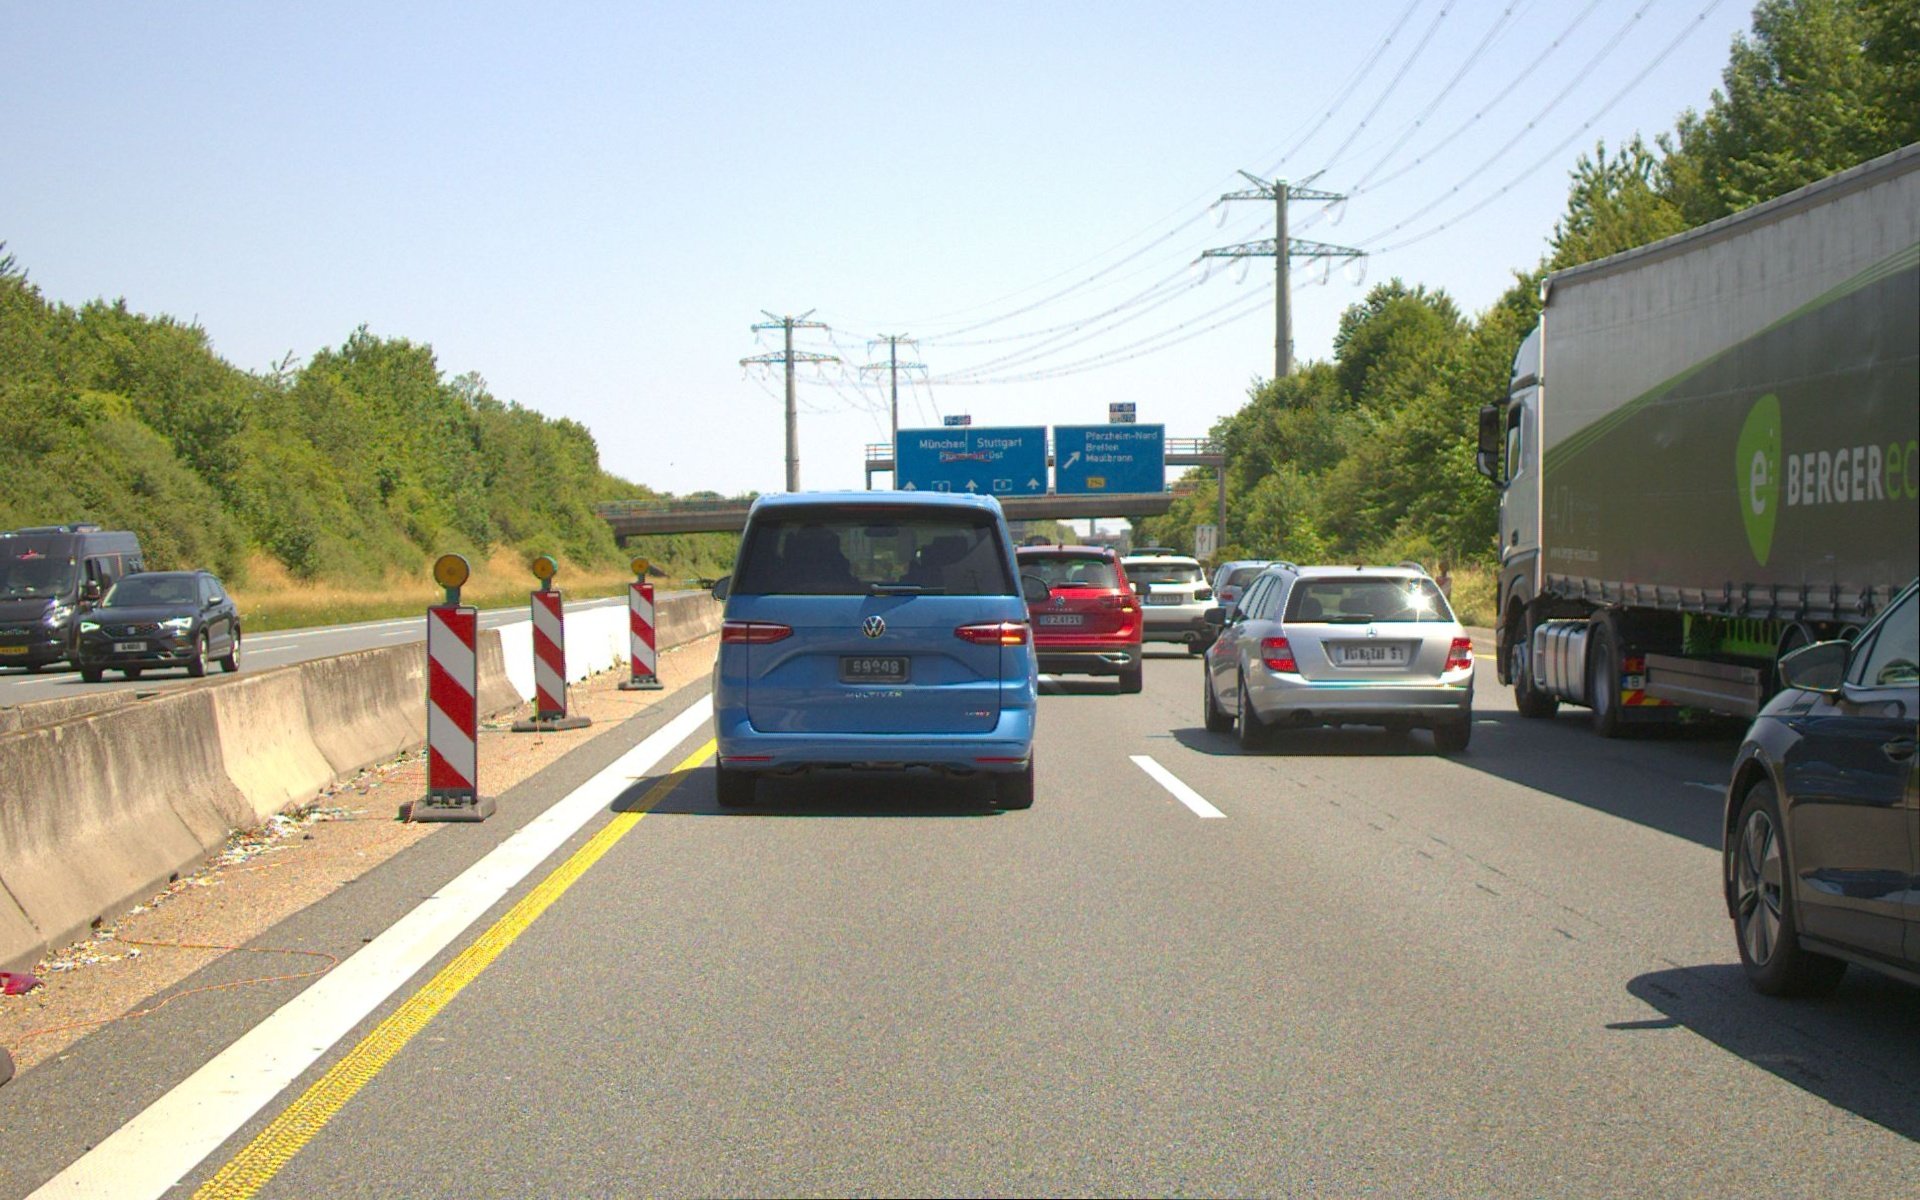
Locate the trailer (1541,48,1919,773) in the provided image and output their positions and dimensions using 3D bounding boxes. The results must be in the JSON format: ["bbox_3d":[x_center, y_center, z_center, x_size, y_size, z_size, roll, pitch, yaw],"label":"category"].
[{"bbox_3d":[6.621,-1.081,23.347,2.783,4.033,13.113,1,1,-1],"label":"trailer"}]

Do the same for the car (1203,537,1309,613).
[{"bbox_3d":[5.882,-0.509,68.582,1.700,1.443,3.788,1,1,-1],"label":"car"}]

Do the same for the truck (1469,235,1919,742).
[{"bbox_3d":[6.456,-0.923,30.607,2.733,4.033,5.794,1,0,-2],"label":"truck"}]

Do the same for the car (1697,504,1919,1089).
[{"bbox_3d":[3.555,0.564,9.995,1.700,1.649,4.430,1,1,-2],"label":"car"}]

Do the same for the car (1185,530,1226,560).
[{"bbox_3d":[14.232,-3.196,199.311,1.874,1.665,4.360,1,1,-2],"label":"car"}]

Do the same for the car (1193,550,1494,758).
[{"bbox_3d":[2.985,0.377,27.609,1.770,1.512,4.360,1,1,-2],"label":"car"}]

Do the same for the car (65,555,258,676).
[{"bbox_3d":[-12.126,0.196,52.476,1.993,1.678,4.153,-3,1,-1],"label":"car"}]

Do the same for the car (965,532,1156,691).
[{"bbox_3d":[1.077,0.101,38.992,1.874,1.665,4.360,1,1,-2],"label":"car"}]

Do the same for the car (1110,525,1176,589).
[{"bbox_3d":[5.934,-1.404,111.926,1.797,2.007,4.227,1,1,-1],"label":"car"}]

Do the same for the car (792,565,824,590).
[{"bbox_3d":[-9.588,-1.415,216.959,1.862,1.485,4.493,-1,1,0],"label":"car"}]

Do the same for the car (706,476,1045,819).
[{"bbox_3d":[-0.546,0.245,21.568,1.874,1.905,4.360,1,1,-2],"label":"car"}]

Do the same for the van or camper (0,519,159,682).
[{"bbox_3d":[-16.277,-0.006,61.814,2.222,2.701,7.081,-3,1,-2],"label":"van or camper"}]

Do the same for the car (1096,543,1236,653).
[{"bbox_3d":[3.117,-0.048,52.849,1.797,1.588,4.227,1,1,-1],"label":"car"}]
